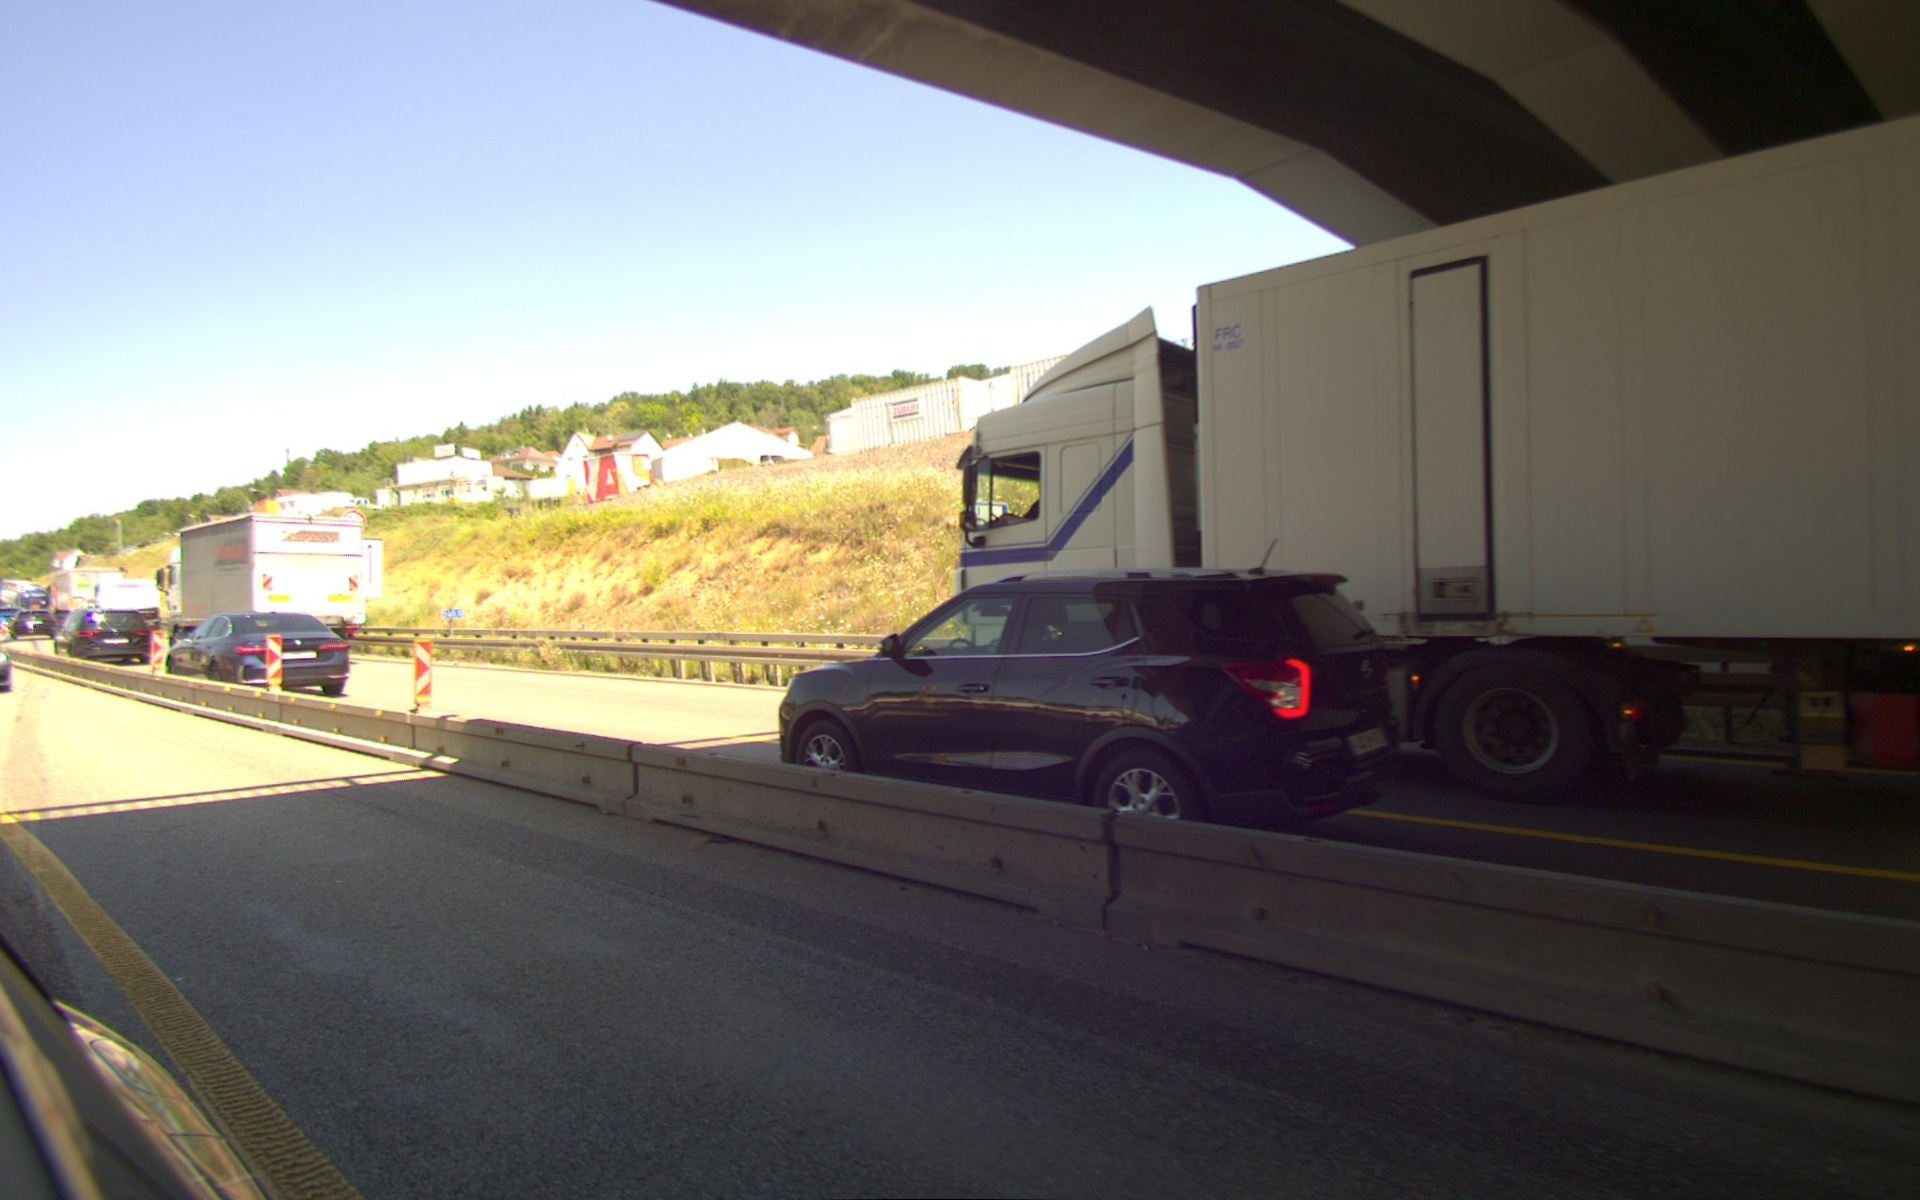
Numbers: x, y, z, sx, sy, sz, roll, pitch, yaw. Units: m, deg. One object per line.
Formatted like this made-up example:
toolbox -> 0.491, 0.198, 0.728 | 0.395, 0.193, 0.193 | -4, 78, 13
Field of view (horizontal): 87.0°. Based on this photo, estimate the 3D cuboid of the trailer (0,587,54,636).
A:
trailer -> -77.778, 0.886, 84.274 | 11.276, 3.899, 2.571 | 0, 1, 44

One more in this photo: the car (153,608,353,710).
car -> -12.725, 0.944, 18.097 | 4.771, 1.539, 1.836 | 0, 1, 41

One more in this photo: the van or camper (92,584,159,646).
van or camper -> -39.397, 0.681, 47.728 | 2.098, 2.725, 6.462 | 0, -1, -42

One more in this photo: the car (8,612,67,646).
car -> -45.524, 1.425, 49.913 | 4.185, 1.529, 1.735 | -2, 0, 42

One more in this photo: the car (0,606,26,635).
car -> -61.389, 1.300, 64.869 | 1.810, 1.676, 4.694 | -1, 1, -38

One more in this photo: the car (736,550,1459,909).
car -> 0.613, 0.620, 6.705 | 4.521, 1.622, 1.704 | -2, 0, 41

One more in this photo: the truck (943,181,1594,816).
truck -> 2.637, -0.685, 9.416 | 5.185, 4.202, 2.631 | 0, 1, 42

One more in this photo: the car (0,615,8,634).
car -> -73.678, 1.863, 76.943 | 1.812, 1.440, 4.539 | -1, 0, -43

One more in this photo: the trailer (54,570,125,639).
trailer -> -53.242, 0.216, 61.748 | 2.624, 3.844, 11.831 | -1, 1, -44

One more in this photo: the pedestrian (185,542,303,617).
pedestrian -> -20.878, -0.575, 29.462 | 3.999, 2.029, 1.972 | 0, 1, 42

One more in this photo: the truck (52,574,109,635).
truck -> -57.536, 0.260, 66.188 | 2.554, 3.857, 5.386 | -1, 1, -43

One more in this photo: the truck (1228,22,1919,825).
truck -> 8.132, -0.967, 4.747 | 13.483, 4.346, 2.740 | 0, 1, 41

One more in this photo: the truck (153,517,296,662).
truck -> -23.019, -0.325, 31.642 | 4.072, 4.181, 2.769 | 0, 1, 41

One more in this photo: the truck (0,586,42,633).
truck -> -82.488, 0.793, 88.749 | 4.589, 4.006, 2.555 | 0, 1, 43

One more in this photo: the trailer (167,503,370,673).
trailer -> -19.904, -0.318, 28.889 | 8.239, 4.205, 2.783 | 0, 1, 41

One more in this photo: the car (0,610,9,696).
car -> -20.239, 1.030, 19.985 | 4.389, 1.609, 1.814 | -1, 0, 43

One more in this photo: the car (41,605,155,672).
car -> -24.895, 1.070, 29.174 | 4.606, 1.769, 1.836 | -1, 0, 41

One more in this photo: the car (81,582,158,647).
car -> -39.536, 0.632, 47.530 | 2.249, 2.842, 6.563 | -1, 1, -44
